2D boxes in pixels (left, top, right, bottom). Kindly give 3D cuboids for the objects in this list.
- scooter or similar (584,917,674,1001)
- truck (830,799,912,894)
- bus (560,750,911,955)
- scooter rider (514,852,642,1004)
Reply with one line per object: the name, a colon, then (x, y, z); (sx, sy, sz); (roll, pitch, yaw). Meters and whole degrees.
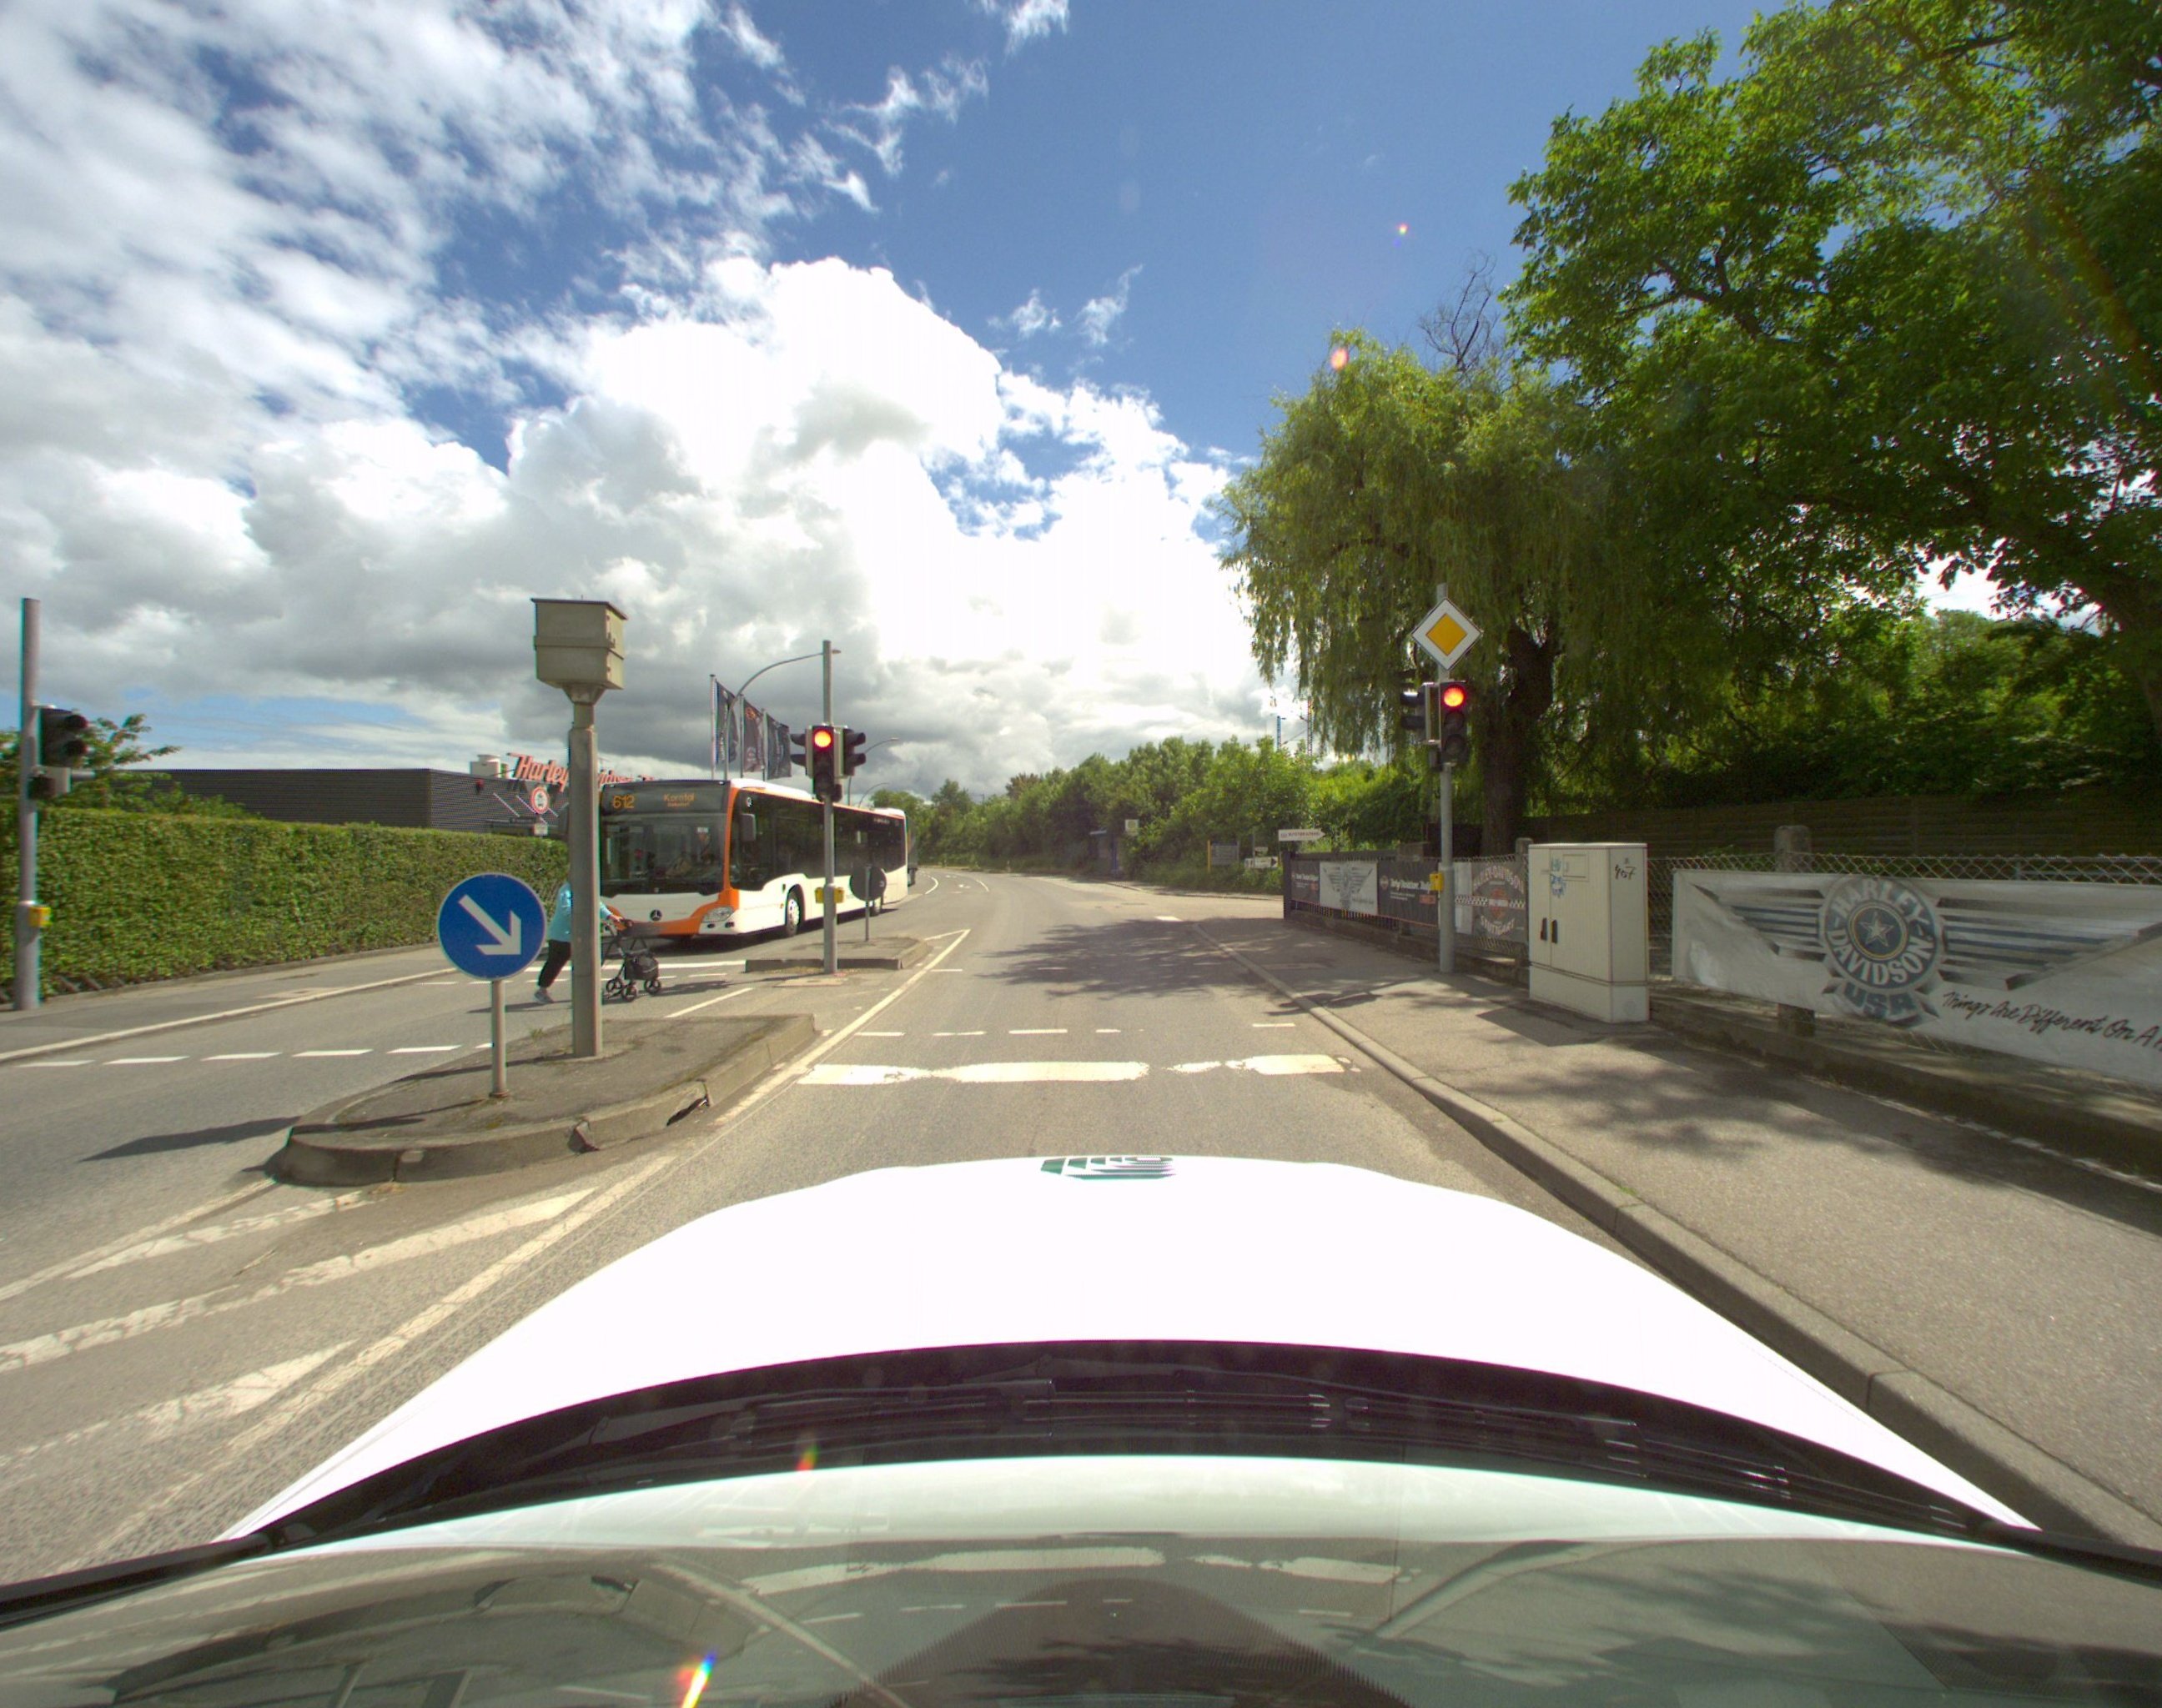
scooter or similar: (-4.965, 1.139, 8.978); (0.609, 0.831, 0.659); (-1, 0, 0)
truck: (-10.221, -0.295, 40.591); (2.425, 4.131, 9.132); (1, -1, -5)
bus: (-6.927, 0.006, 19.379); (2.767, 3.266, 12.127); (-2, 0, 2)
scooter rider: (-5.529, 0.779, 8.998); (0.875, 1.589, 0.796); (-1, 0, 0)
